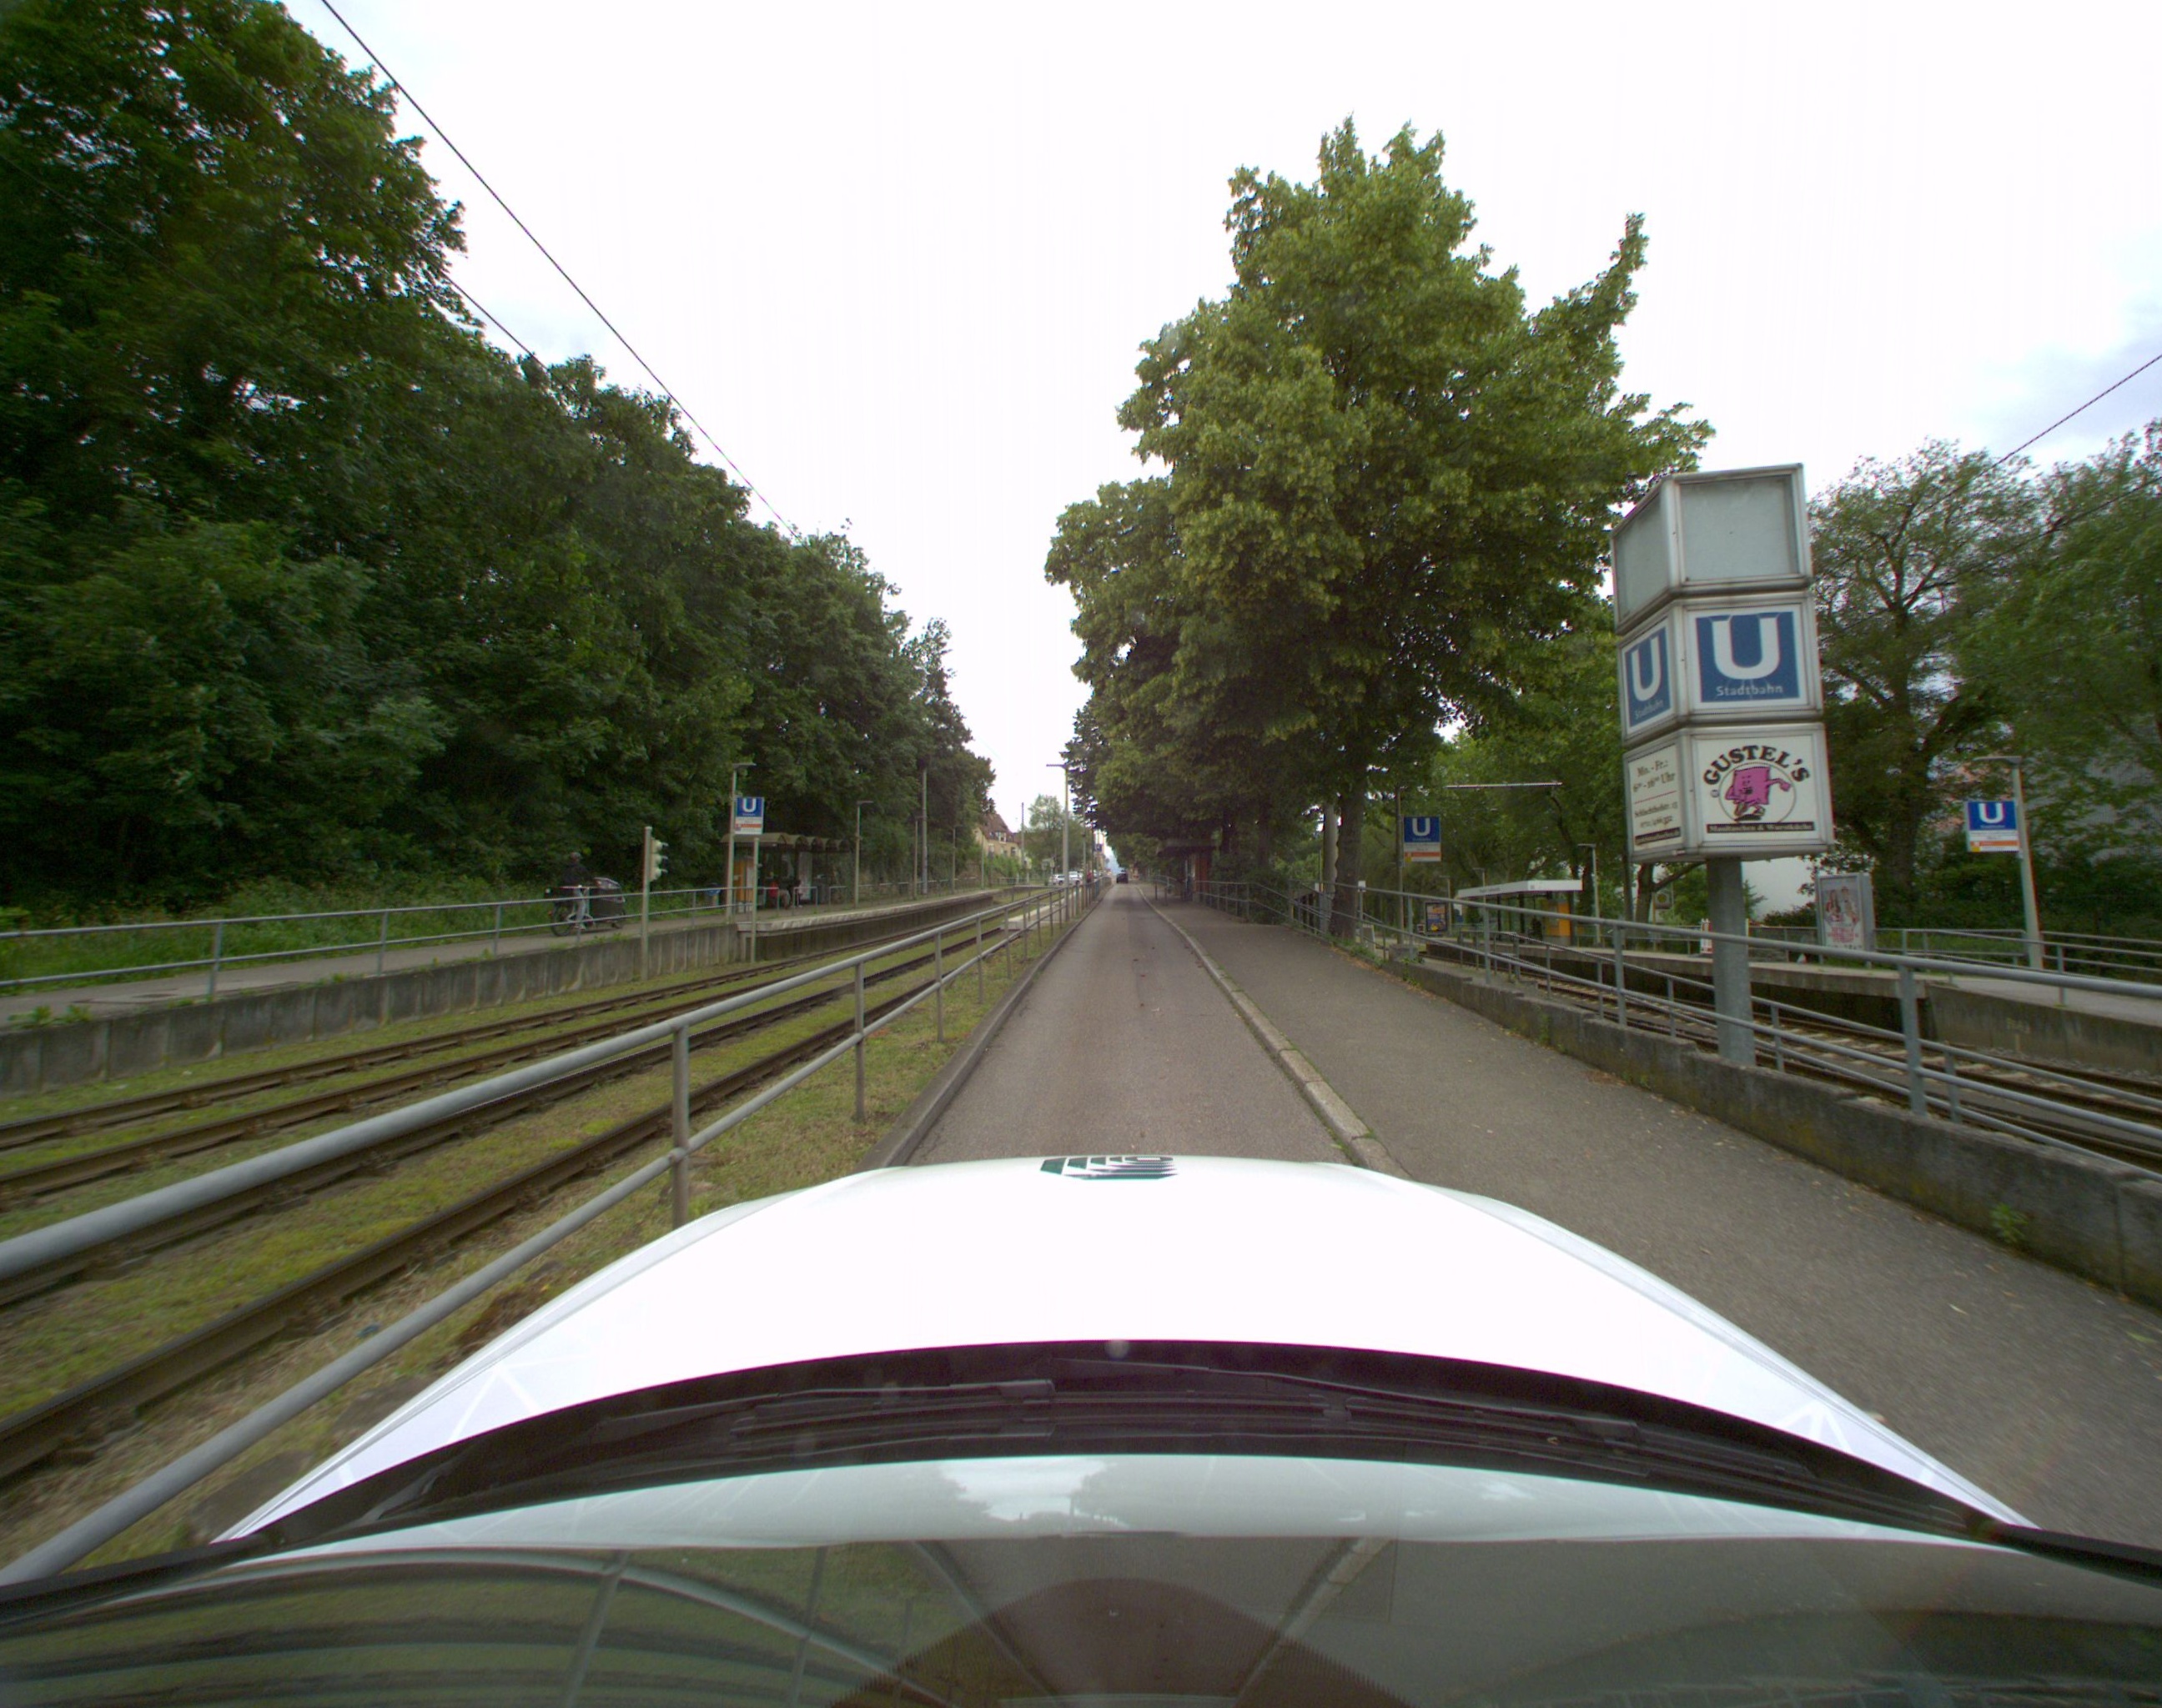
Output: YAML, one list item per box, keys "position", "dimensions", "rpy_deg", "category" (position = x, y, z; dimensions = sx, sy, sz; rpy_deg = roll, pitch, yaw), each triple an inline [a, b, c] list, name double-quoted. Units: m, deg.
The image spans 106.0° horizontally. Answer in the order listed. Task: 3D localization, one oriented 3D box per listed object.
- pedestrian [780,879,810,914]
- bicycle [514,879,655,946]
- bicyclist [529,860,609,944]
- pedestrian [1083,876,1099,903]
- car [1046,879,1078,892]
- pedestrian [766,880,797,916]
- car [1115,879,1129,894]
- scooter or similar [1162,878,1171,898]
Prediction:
- position: [-11.264, 1.683, 32.100]
  dimensions: [0.768, 1.327, 0.787]
  rpy_deg: [2, -5, 3]
  category: "pedestrian"
- position: [-10.849, 1.229, 18.040]
  dimensions: [0.729, 1.289, 3.351]
  rpy_deg: [2, -1, 6]
  category: "bicycle"
- position: [-10.900, 1.000, 17.380]
  dimensions: [0.729, 1.711, 1.294]
  rpy_deg: [2, -1, 6]
  category: "bicyclist"
- position: [0.537, 1.887, 43.870]
  dimensions: [0.739, 1.410, 0.747]
  rpy_deg: [2, -1, 2]
  category: "pedestrian"
- position: [-2.673, 4.439, 114.535]
  dimensions: [4.134, 1.659, 1.979]
  rpy_deg: [5, -6, -32]
  category: "car"
- position: [-11.399, 1.673, 31.015]
  dimensions: [0.768, 1.326, 0.787]
  rpy_deg: [2, -3, 3]
  category: "pedestrian"
- position: [6.360, 5.042, 126.818]
  dimensions: [1.985, 2.147, 4.001]
  rpy_deg: [2, -5, 3]
  category: "car"
- position: [5.291, 2.093, 50.221]
  dimensions: [0.342, 1.157, 1.145]
  rpy_deg: [3, -5, -3]
  category: "scooter or similar"
